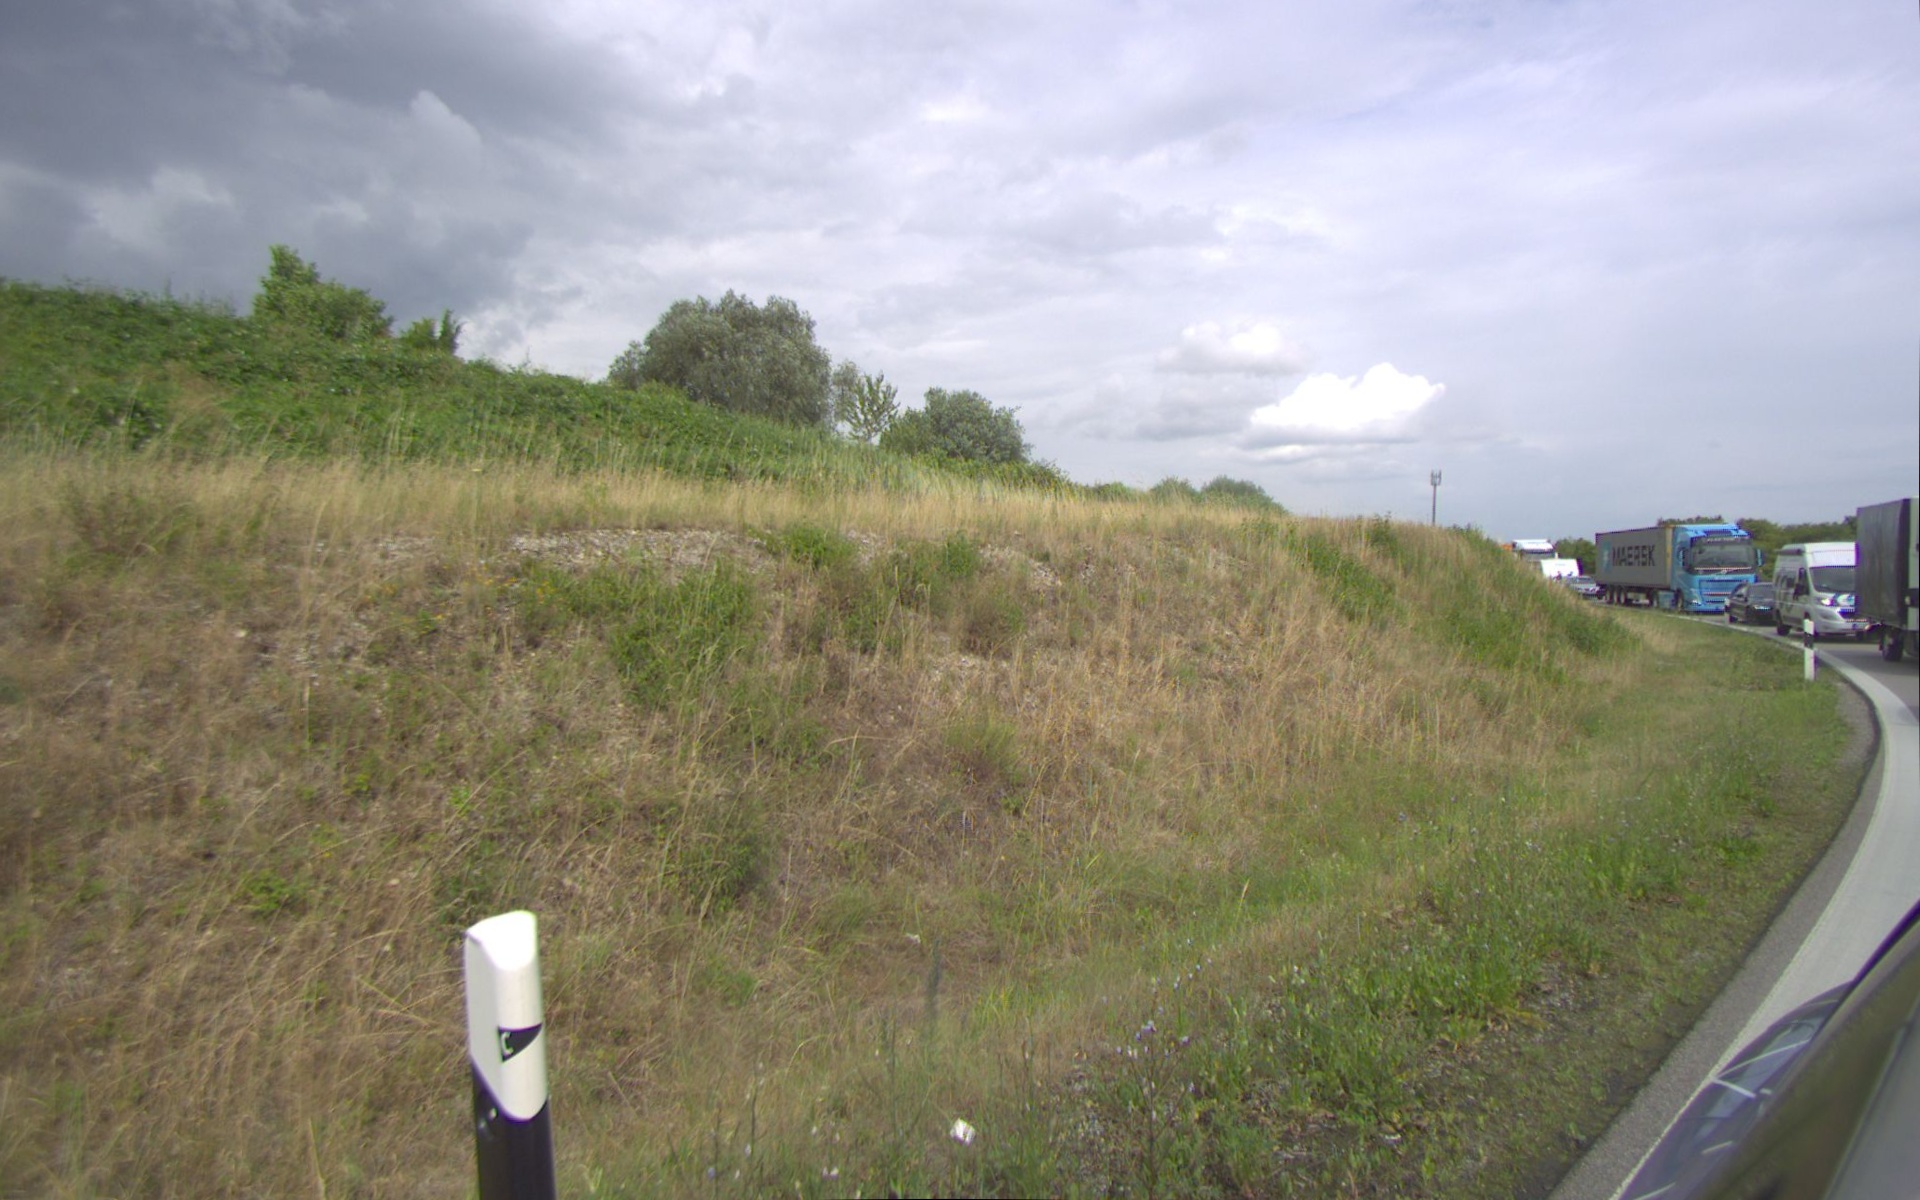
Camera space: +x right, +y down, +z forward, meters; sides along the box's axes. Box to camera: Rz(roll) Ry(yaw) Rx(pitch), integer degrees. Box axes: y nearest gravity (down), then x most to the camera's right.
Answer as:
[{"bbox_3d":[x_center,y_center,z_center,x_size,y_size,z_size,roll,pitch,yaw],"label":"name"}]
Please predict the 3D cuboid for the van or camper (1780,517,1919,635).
[{"bbox_3d":[24.662,-0.627,27.872,2.379,2.945,5.659,0,0,30],"label":"van or camper"}]

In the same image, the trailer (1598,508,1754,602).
[{"bbox_3d":[36.224,-2.088,51.869,3.234,4.214,11.943,0,0,19],"label":"trailer"}]

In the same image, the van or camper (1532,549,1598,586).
[{"bbox_3d":[40.797,-2.238,68.443,2.519,2.237,5.684,-1,4,17],"label":"van or camper"}]

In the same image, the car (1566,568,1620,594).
[{"bbox_3d":[39.122,-1.207,62.636,1.974,1.548,3.977,0,2,19],"label":"car"}]

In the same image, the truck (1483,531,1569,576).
[{"bbox_3d":[44.132,-3.569,79.390,3.080,3.279,11.113,0,2,14],"label":"truck"}]

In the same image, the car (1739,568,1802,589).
[{"bbox_3d":[59.129,-1.611,73.947,1.972,1.440,4.439,0,2,15],"label":"car"}]

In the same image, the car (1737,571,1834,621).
[{"bbox_3d":[29.378,-0.190,36.127,1.983,1.638,3.960,1,2,29],"label":"car"}]

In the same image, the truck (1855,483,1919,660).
[{"bbox_3d":[19.503,-0.536,19.278,2.550,3.207,7.381,0,0,33],"label":"truck"}]

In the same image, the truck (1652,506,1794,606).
[{"bbox_3d":[33.955,-1.861,45.382,3.139,4.124,6.605,0,0,19],"label":"truck"}]
